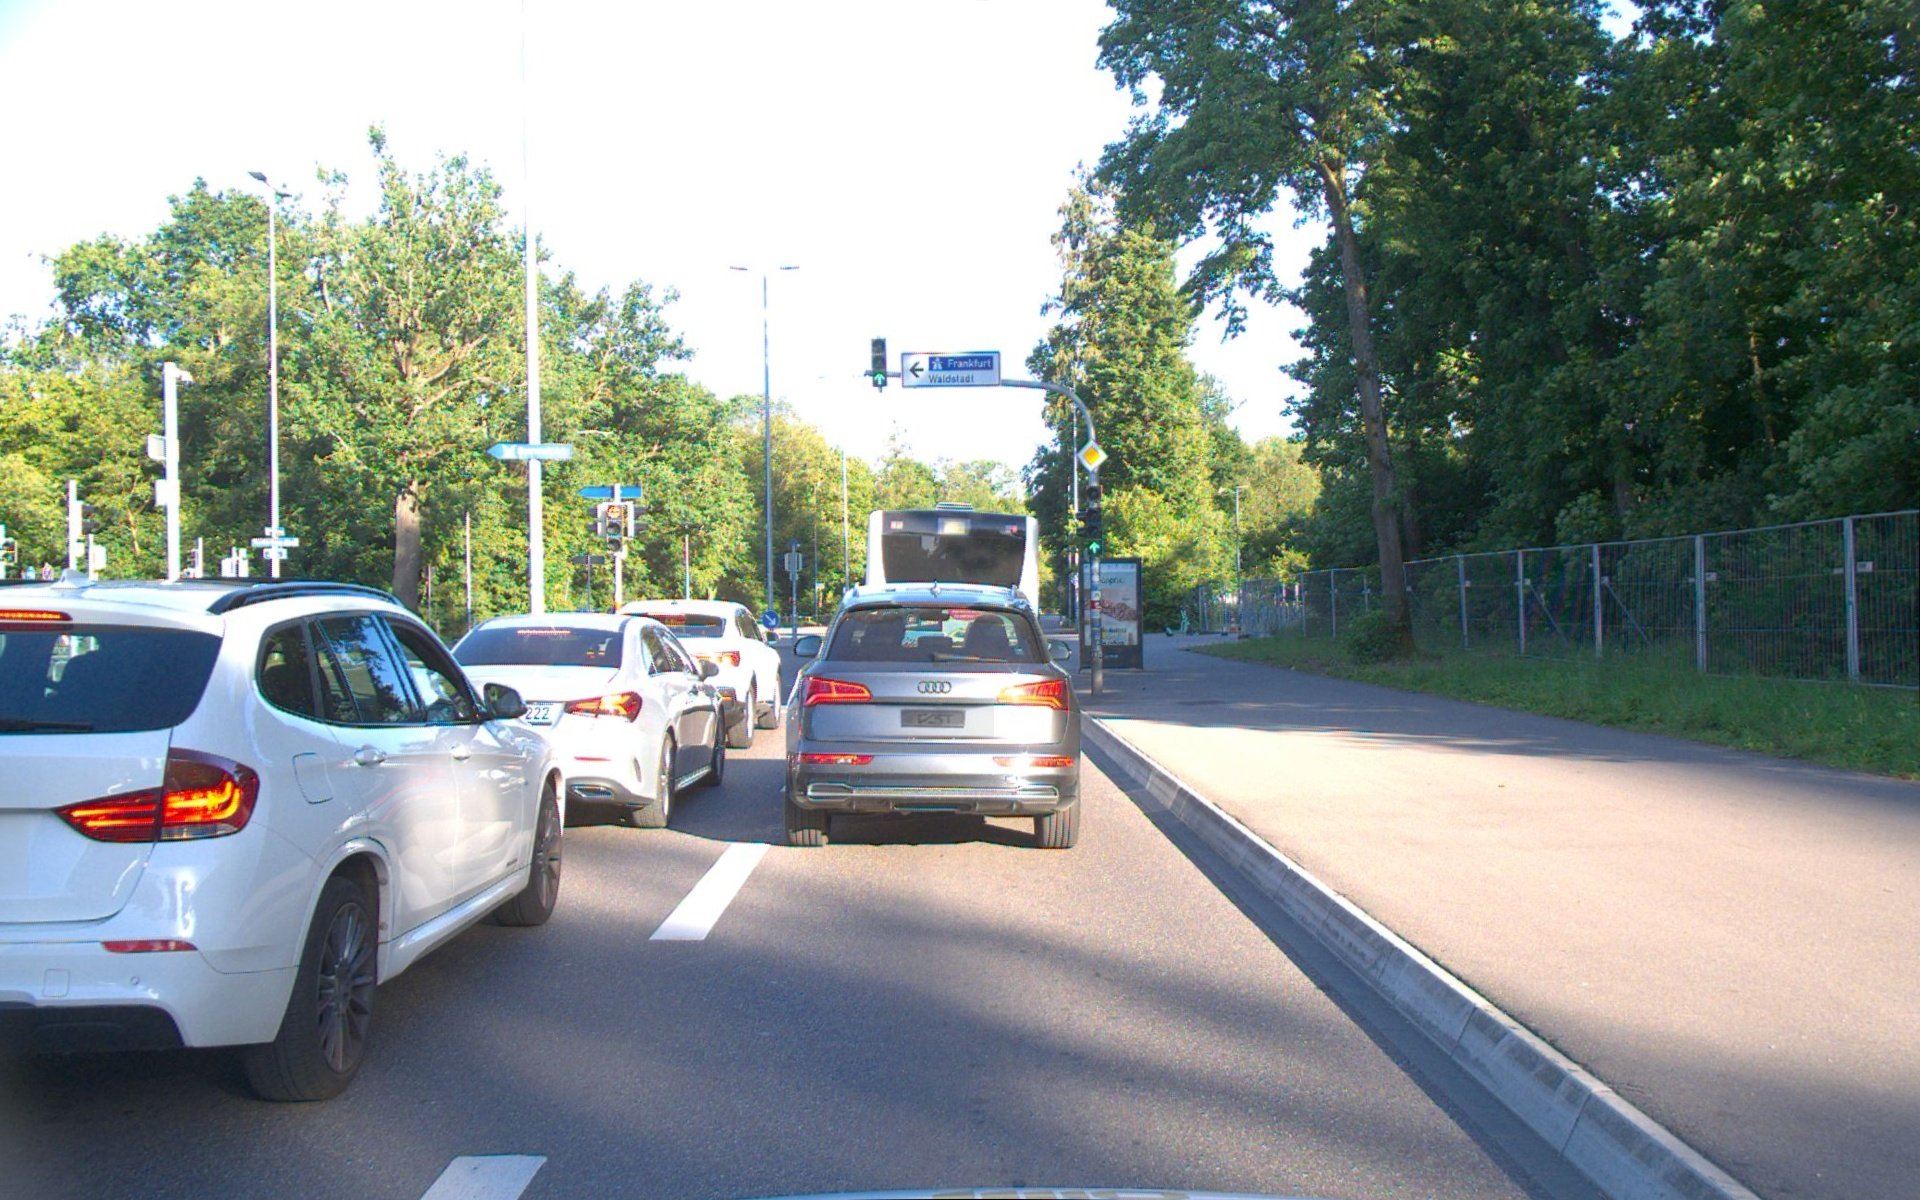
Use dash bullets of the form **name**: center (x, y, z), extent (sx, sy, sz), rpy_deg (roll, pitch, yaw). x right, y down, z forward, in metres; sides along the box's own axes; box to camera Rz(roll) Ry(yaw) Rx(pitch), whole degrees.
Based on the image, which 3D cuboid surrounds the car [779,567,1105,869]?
- **car**: center (-0.134, 0.662, 11.468), extent (1.830, 1.693, 3.999), rpy_deg (1, 0, -1)

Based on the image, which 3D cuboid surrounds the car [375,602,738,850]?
- **car**: center (-2.789, 0.786, 12.398), extent (1.749, 1.469, 4.276), rpy_deg (1, 0, -2)

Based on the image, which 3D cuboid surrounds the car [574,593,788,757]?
- **car**: center (-3.026, 0.751, 18.708), extent (1.771, 1.599, 3.999), rpy_deg (1, 0, -1)

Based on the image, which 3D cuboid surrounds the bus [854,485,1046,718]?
- **bus**: center (-0.128, -0.005, 26.058), extent (2.624, 3.197, 5.882), rpy_deg (1, 0, 0)

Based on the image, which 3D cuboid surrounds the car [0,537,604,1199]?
- **car**: center (-2.645, 0.660, 6.239), extent (1.684, 1.608, 4.433), rpy_deg (1, 0, -1)

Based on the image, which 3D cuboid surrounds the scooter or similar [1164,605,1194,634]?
- **scooter or similar**: center (9.158, 0.801, 69.122), extent (1.158, 1.195, 0.659), rpy_deg (1, 0, 10)
